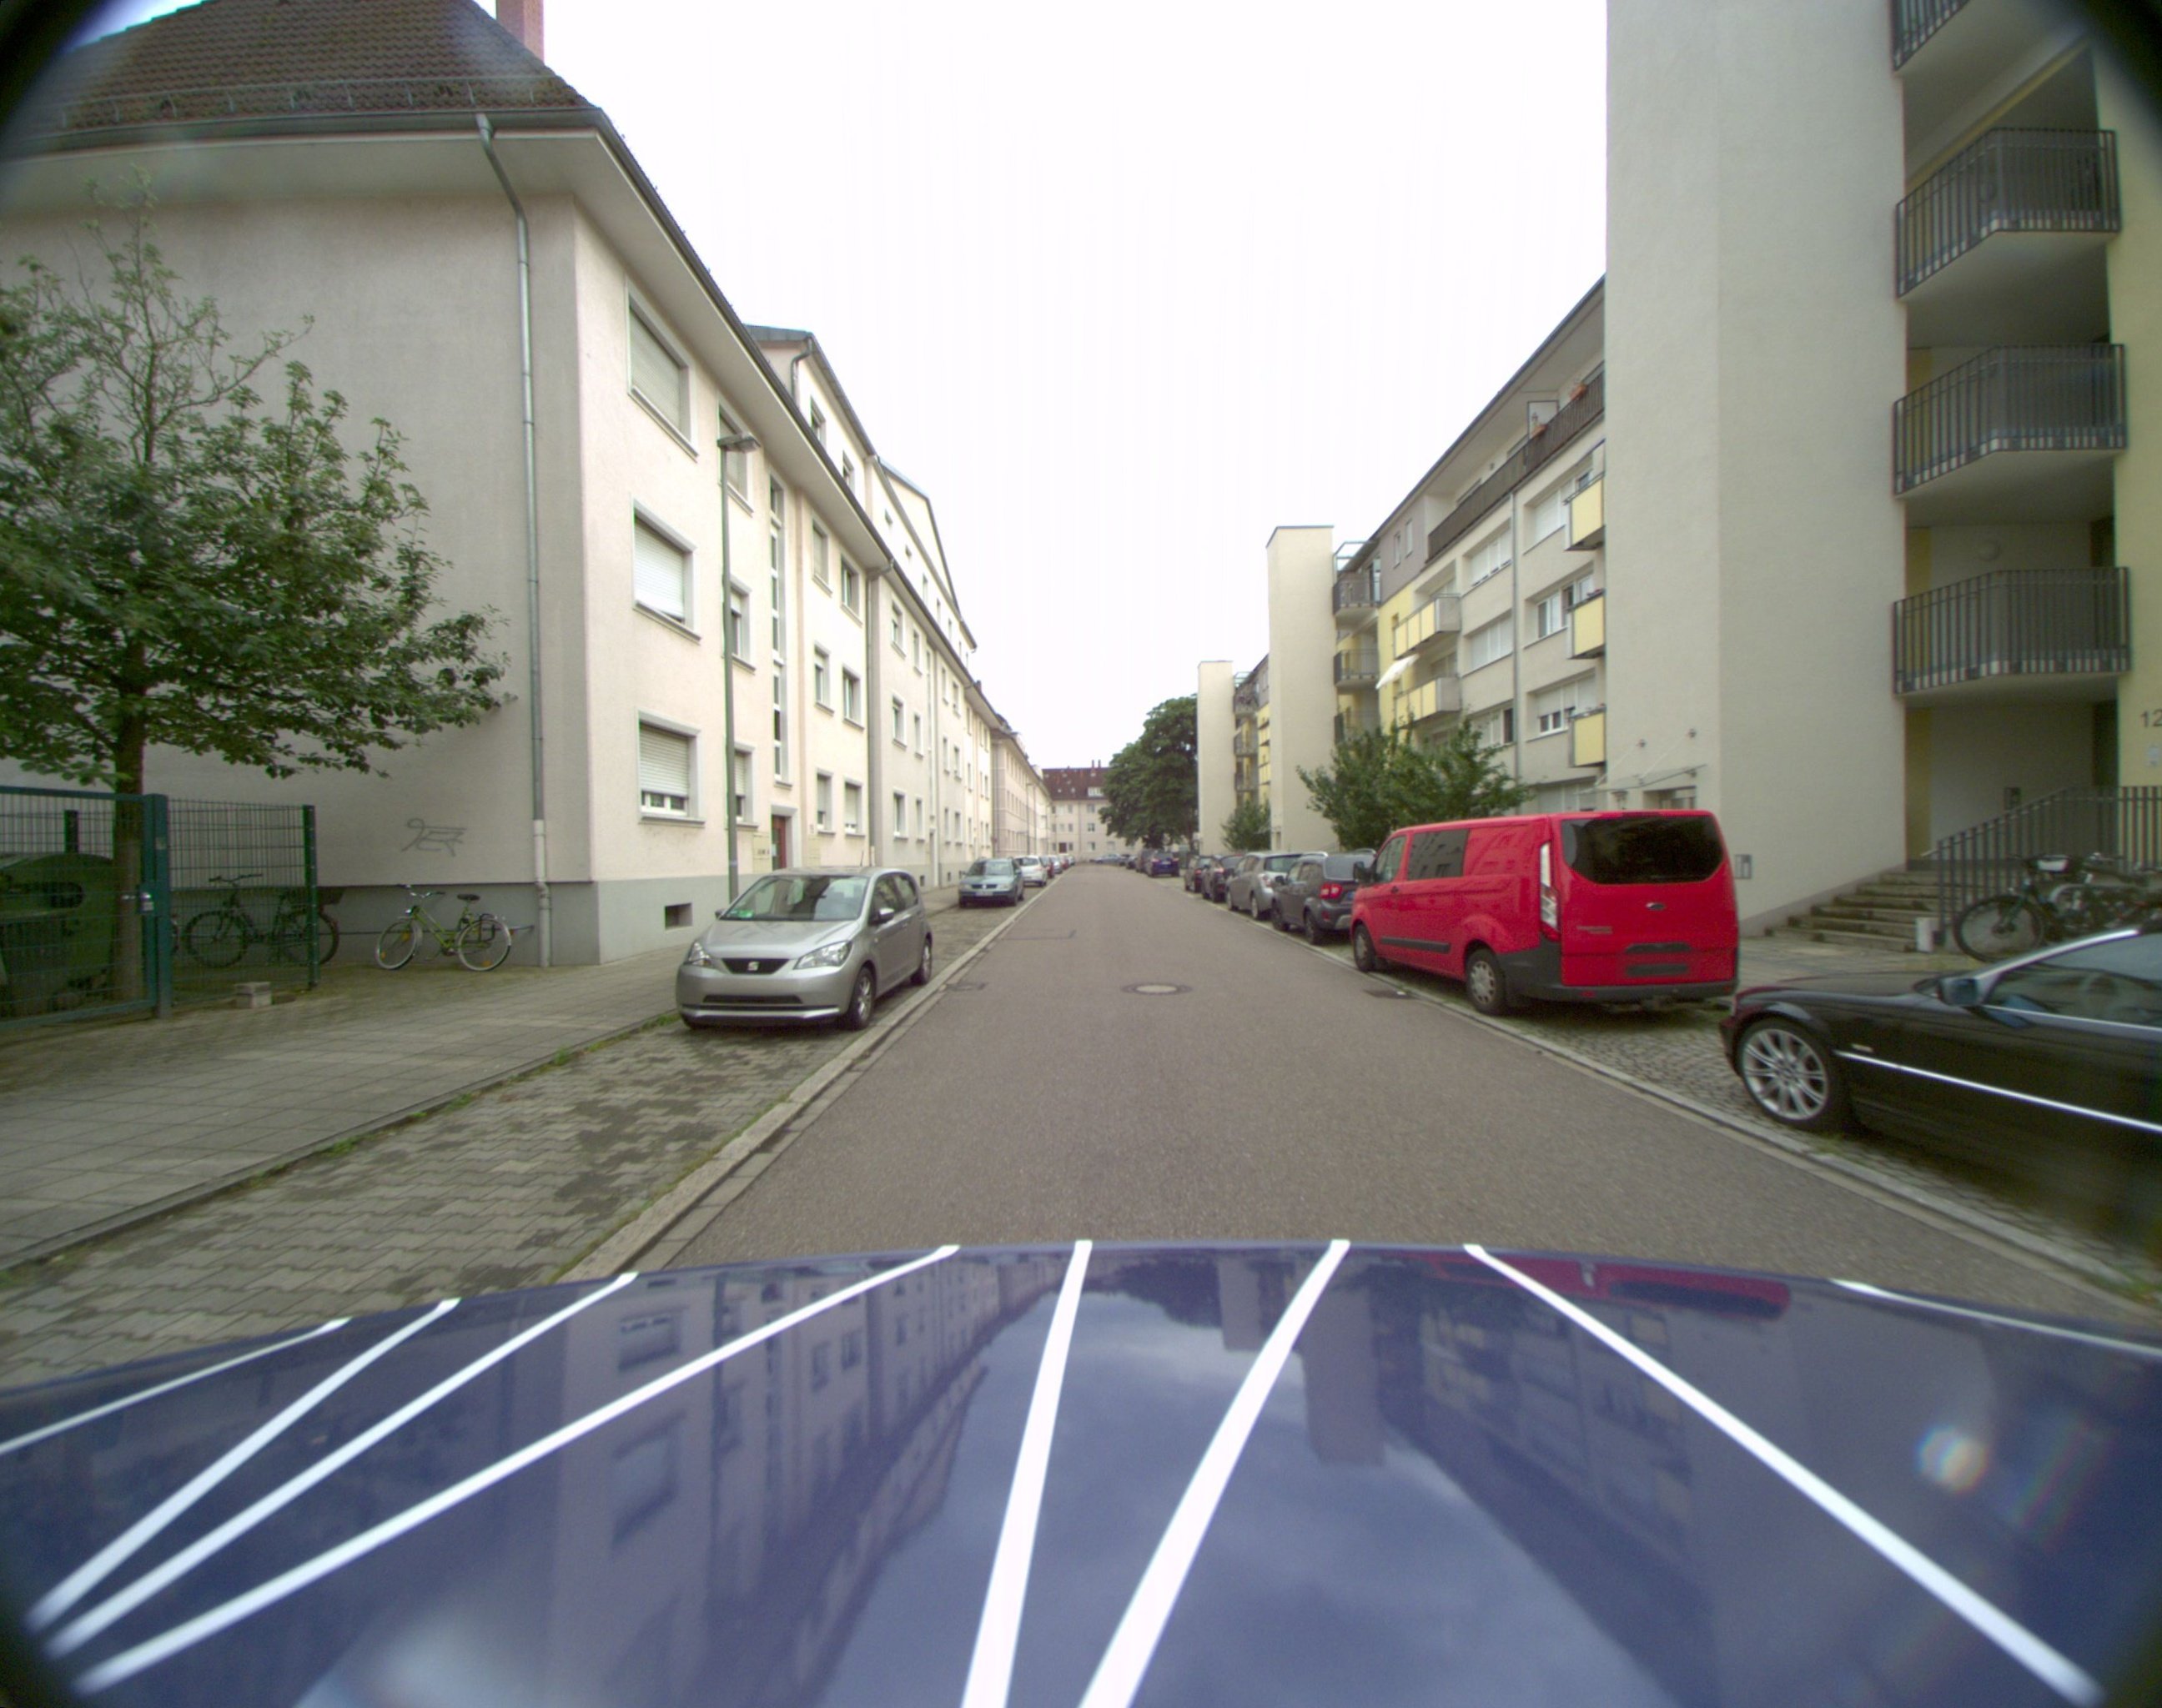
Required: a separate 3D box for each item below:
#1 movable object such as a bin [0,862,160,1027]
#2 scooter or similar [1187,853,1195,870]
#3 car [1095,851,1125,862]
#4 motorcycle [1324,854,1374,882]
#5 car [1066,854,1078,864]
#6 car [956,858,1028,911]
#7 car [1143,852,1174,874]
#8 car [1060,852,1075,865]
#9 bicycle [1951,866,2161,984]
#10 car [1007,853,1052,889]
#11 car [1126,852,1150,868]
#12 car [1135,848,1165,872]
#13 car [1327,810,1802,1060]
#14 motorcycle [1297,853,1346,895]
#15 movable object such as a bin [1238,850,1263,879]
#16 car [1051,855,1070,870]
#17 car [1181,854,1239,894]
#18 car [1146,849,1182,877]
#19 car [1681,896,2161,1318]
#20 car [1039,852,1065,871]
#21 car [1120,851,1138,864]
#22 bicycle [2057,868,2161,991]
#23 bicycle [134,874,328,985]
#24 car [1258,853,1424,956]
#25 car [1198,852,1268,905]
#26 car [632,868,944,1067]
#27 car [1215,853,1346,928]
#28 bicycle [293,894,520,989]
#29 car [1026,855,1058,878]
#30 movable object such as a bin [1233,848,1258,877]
[{"bbox_3d":[-10.069,0.811,7.234,1.164,1.435,1.149,-1,1,0],"label":"movable object such as a bin"},{"bbox_3d":[8.090,0.579,55.905,0.438,1.236,1.135,-1,0,1],"label":"scooter or similar"},{"bbox_3d":[4.602,0.398,119.515,4.545,1.551,1.565,-1,1,5],"label":"car"},{"bbox_3d":[10.558,0.543,29.980,1.753,1.122,0.593,0,0,-3],"label":"motorcycle"},{"bbox_3d":[-1.243,0.625,105.177,1.563,1.334,3.788,-1,0,1],"label":"car"},{"bbox_3d":[-2.724,0.895,24.026,1.729,1.460,4.264,-1,0,0],"label":"car"},{"bbox_3d":[5.551,0.620,54.792,1.625,1.437,3.818,-2,0,-3],"label":"car"},{"bbox_3d":[-1.687,0.571,94.453,1.764,1.595,3.956,-1,0,1],"label":"car"},{"bbox_3d":[10.374,0.723,7.952,1.839,1.112,0.605,-2,1,-1],"label":"bicycle"},{"bbox_3d":[-2.451,0.779,36.718,1.788,1.590,3.805,-1,0,2],"label":"car"},{"bbox_3d":[5.698,0.613,76.229,1.919,1.431,4.434,-3,0,-1],"label":"car"},{"bbox_3d":[5.523,0.482,61.201,1.891,1.844,4.785,-1,0,0],"label":"car"},{"bbox_3d":[4.784,0.656,8.703,2.157,1.942,4.920,-3,0,-1],"label":"car"},{"bbox_3d":[7.958,0.647,25.286,0.871,1.299,2.420,-2,0,1],"label":"motorcycle"},{"bbox_3d":[8.730,0.534,39.231,1.004,1.438,1.314,-2,1,1],"label":"movable object such as a bin"},{"bbox_3d":[-2.084,0.805,77.739,1.758,1.477,3.773,0,0,1],"label":"car"},{"bbox_3d":[5.145,0.762,30.756,1.647,1.430,3.856,-3,0,1],"label":"car"},{"bbox_3d":[5.306,0.547,48.895,1.804,1.617,4.472,-2,0,1],"label":"car"},{"bbox_3d":[4.810,0.979,2.687,1.875,1.316,4.361,-2,0,0],"label":"car"},{"bbox_3d":[-2.194,0.553,58.646,1.792,1.455,4.040,0,0,1],"label":"car"},{"bbox_3d":[6.057,0.409,96.227,2.000,1.566,4.209,-3,0,1],"label":"car"},{"bbox_3d":[10.666,0.694,7.275,1.839,1.112,0.570,-1,1,2],"label":"bicycle"},{"bbox_3d":[-10.556,0.916,9.474,1.619,1.275,0.598,-1,1,-4],"label":"bicycle"},{"bbox_3d":[4.664,0.820,14.289,1.725,1.561,4.054,-3,0,1],"label":"car"},{"bbox_3d":[4.940,0.759,25.149,1.657,1.521,3.895,-3,0,3],"label":"car"},{"bbox_3d":[-2.742,0.965,8.193,1.729,1.483,4.060,-1,0,0],"label":"car"},{"bbox_3d":[4.835,0.796,19.202,1.839,1.561,4.860,-3,0,-2],"label":"car"},{"bbox_3d":[-8.375,1.072,9.487,2.213,1.070,0.648,-1,1,0],"label":"bicycle"},{"bbox_3d":[-2.465,0.769,48.533,1.758,1.401,3.936,-1,0,1],"label":"car"},{"bbox_3d":[8.782,0.423,40.646,1.004,1.492,1.314,-2,1,1],"label":"movable object such as a bin"}]
